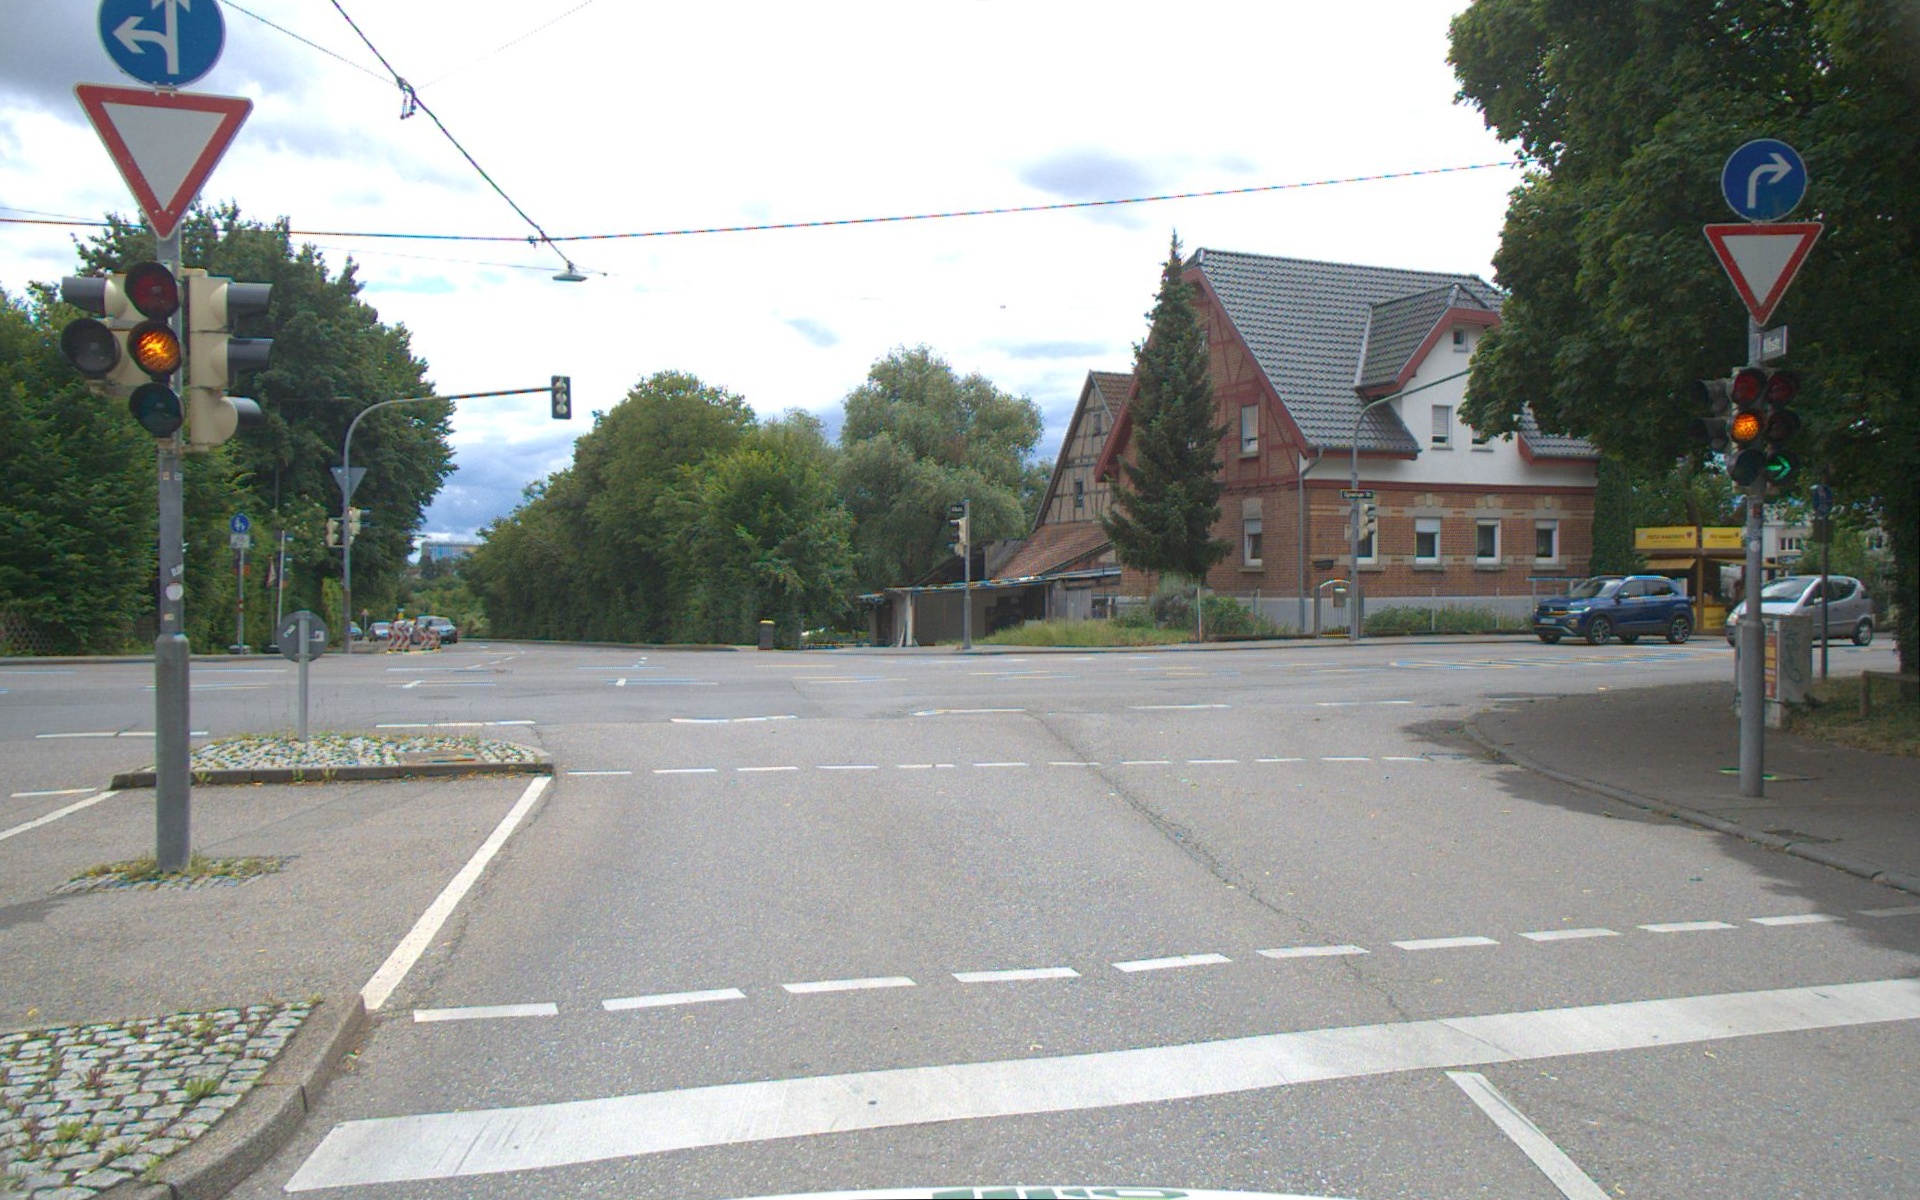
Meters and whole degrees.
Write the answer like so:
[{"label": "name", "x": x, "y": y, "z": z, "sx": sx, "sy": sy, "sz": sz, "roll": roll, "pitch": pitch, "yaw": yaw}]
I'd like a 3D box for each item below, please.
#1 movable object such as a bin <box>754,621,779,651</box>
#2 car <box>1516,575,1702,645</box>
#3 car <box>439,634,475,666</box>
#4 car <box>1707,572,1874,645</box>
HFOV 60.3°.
[{"label": "movable object such as a bin", "x": -6.059, "y": 1.135, "z": 51.901, "sx": 0.579, "sy": 0.922, "sz": 0.603, "roll": -1, "pitch": 0, "yaw": 16}, {"label": "car", "x": 15.361, "y": 0.214, "z": 39.140, "sx": 3.935, "sy": 1.545, "sz": 1.913, "roll": -1, "pitch": 0, "yaw": -25}, {"label": "car", "x": -30.170, "y": 2.953, "z": 99.078, "sx": 1.963, "sy": 1.780, "sz": 3.979, "roll": -1, "pitch": 0, "yaw": -18}, {"label": "car", "x": 18.795, "y": 0.184, "z": 37.430, "sx": 3.510, "sy": 1.545, "sz": 1.762, "roll": -1, "pitch": -1, "yaw": -31}]
